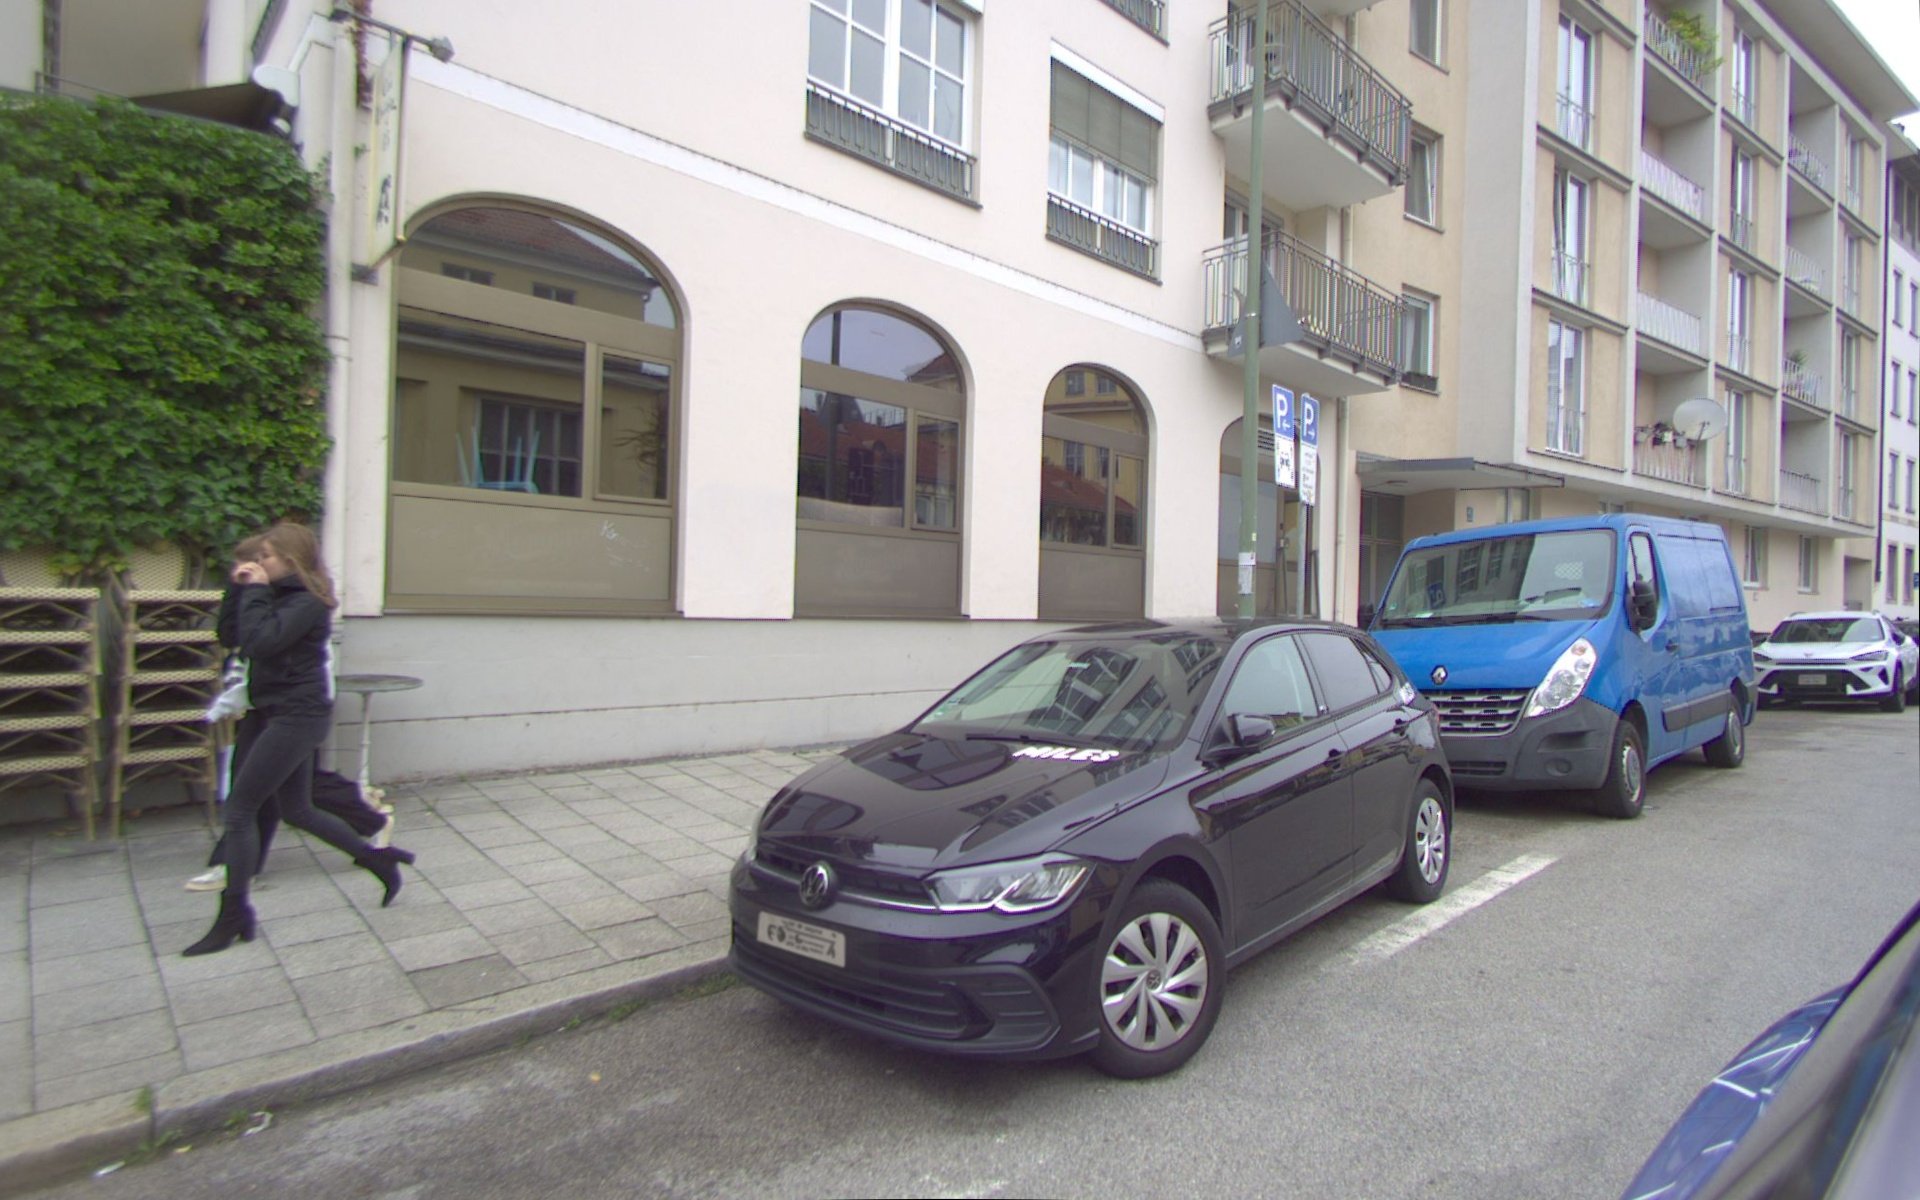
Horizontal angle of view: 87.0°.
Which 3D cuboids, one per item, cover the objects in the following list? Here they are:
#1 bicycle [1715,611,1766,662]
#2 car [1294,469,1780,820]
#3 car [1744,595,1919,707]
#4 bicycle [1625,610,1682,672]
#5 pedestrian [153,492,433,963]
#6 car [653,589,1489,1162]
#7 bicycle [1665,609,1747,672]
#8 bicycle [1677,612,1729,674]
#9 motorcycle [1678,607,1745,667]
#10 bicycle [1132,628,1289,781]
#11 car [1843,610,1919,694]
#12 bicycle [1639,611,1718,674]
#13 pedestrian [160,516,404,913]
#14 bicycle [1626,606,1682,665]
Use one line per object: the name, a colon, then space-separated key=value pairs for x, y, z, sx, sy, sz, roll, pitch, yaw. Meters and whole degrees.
bicycle: x=18.909 y=0.864 z=24.504 sx=1.571 sy=1.171 sz=0.515 roll=1 pitch=2 yaw=-36
car: x=5.265 y=0.286 z=8.897 sx=4.942 sy=2.242 sz=2.111 roll=-1 pitch=-3 yaw=-42
car: x=14.106 y=0.798 z=16.076 sx=4.228 sy=1.543 sz=1.778 roll=2 pitch=-4 yaw=-41
bicycle: x=14.389 y=0.837 z=20.983 sx=1.259 sy=1.216 sz=0.419 roll=1 pitch=4 yaw=-31
pedestrian: x=-2.672 y=0.433 z=4.062 sx=0.679 sy=1.648 sz=0.816 roll=3 pitch=2 yaw=45
car: x=0.838 y=0.721 z=4.556 sx=1.713 sy=1.413 sz=3.937 roll=-3 pitch=-2 yaw=43
bicycle: x=16.221 y=0.866 z=22.023 sx=1.337 sy=1.216 sz=0.388 roll=6 pitch=5 yaw=42
bicycle: x=15.634 y=0.893 z=21.292 sx=1.345 sy=1.216 sz=0.448 roll=0 pitch=4 yaw=-38
motorcycle: x=17.191 y=0.825 z=23.136 sx=2.003 sy=1.287 sz=0.637 roll=1 pitch=2 yaw=-36
bicycle: x=2.104 y=0.797 z=8.337 sx=0.564 sy=1.083 sz=1.762 roll=2 pitch=0 yaw=38
car: x=18.442 y=0.945 z=18.939 sx=4.603 sy=1.448 sz=1.777 roll=1 pitch=-4 yaw=-35
bicycle: x=14.436 y=0.857 z=20.334 sx=1.533 sy=1.216 sz=0.399 roll=2 pitch=3 yaw=-20
pedestrian: x=-3.157 y=0.451 z=4.707 sx=0.816 sy=1.626 sz=0.807 roll=0 pitch=2 yaw=-44
bicycle: x=14.992 y=0.766 z=21.866 sx=1.315 sy=1.216 sz=0.395 roll=1 pitch=4 yaw=-30
